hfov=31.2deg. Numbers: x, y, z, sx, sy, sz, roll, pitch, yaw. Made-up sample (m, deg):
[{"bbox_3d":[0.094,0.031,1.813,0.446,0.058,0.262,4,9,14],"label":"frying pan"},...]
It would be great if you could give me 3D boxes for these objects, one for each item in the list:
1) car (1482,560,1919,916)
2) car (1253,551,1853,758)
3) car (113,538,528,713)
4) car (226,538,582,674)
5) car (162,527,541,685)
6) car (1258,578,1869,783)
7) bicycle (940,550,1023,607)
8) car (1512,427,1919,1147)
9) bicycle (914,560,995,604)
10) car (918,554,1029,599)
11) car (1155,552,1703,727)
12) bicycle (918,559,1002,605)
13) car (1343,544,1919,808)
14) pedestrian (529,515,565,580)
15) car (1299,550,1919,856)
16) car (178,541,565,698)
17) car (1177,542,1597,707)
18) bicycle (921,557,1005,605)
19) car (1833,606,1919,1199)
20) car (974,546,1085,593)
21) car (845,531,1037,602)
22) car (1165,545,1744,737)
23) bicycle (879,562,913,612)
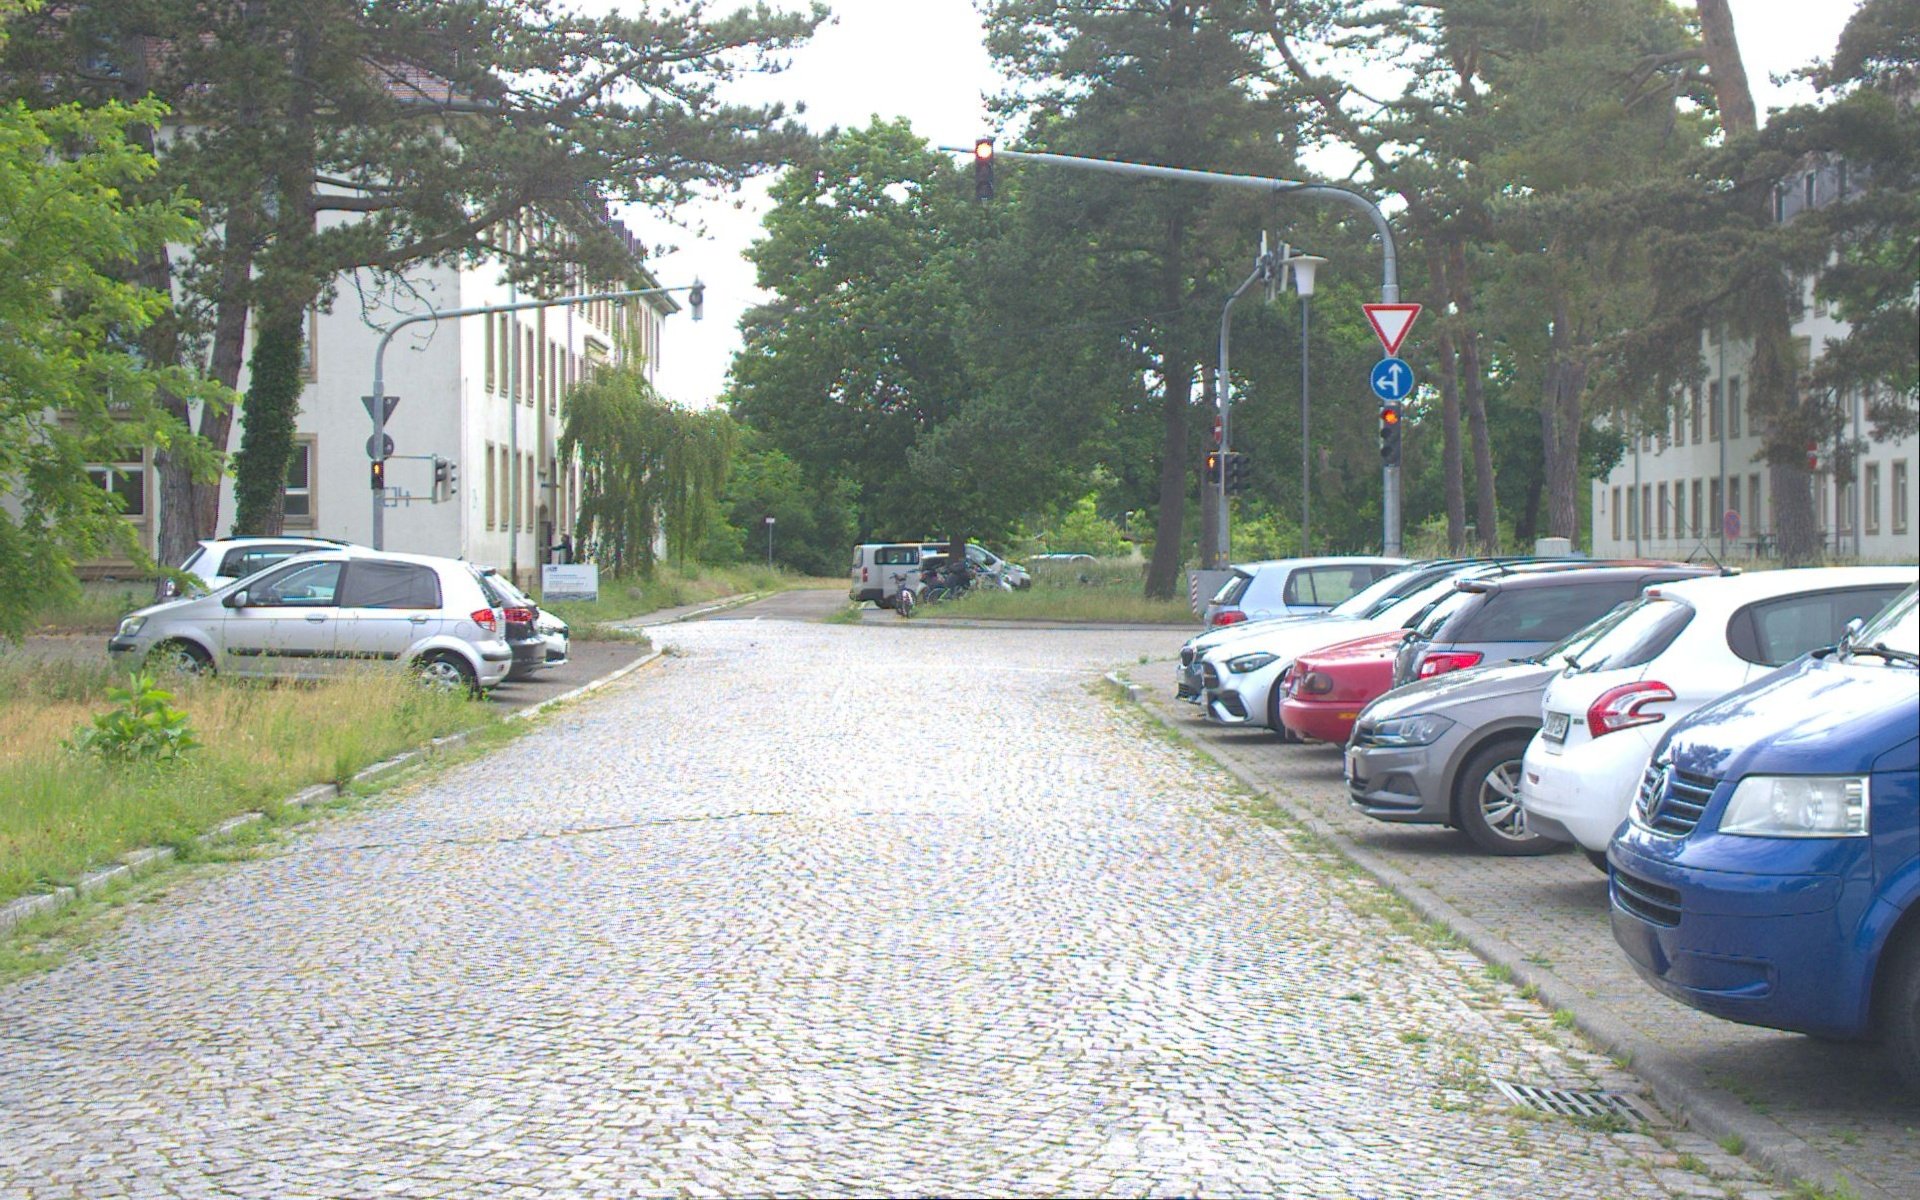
[{"bbox_3d":[4.496,0.561,15.766,3.862,1.467,1.758,-2,1,-2],"label":"car"},{"bbox_3d":[4.508,0.394,26.584,4.261,1.412,1.871,-2,1,-1],"label":"car"},{"bbox_3d":[-6.109,0.228,33.119,3.702,1.474,1.583,3,1,-3],"label":"car"},{"bbox_3d":[-6.597,0.059,41.035,3.947,1.416,1.650,3,1,-1],"label":"car"},{"bbox_3d":[-6.759,0.056,38.491,3.947,1.558,1.650,3,1,-3],"label":"car"},{"bbox_3d":[4.114,0.531,23.838,3.862,1.232,1.758,-2,1,-2],"label":"car"},{"bbox_3d":[0.527,-0.534,84.274,1.954,1.379,0.588,0,1,-7],"label":"bicycle"},{"bbox_3d":[4.278,0.432,10.411,4.807,1.939,2.003,-2,1,-2],"label":"car"},{"bbox_3d":[-0.131,-0.442,84.923,1.955,1.066,0.588,0,1,-30],"label":"bicycle"},{"bbox_3d":[0.367,-0.664,97.530,3.005,1.264,1.535,0,1,-6],"label":"car"},{"bbox_3d":[4.238,0.333,31.536,4.680,1.412,1.871,-2,1,-3],"label":"car"},{"bbox_3d":[-0.002,-0.444,83.440,1.954,1.113,0.588,0,1,-7],"label":"bicycle"},{"bbox_3d":[4.458,0.438,21.472,3.862,1.467,1.758,-2,1,-2],"label":"car"},{"bbox_3d":[-11.838,-1.502,98.463,0.774,1.831,0.741,-1,1,-32],"label":"pedestrian"},{"bbox_3d":[3.896,0.513,18.626,3.862,1.467,1.758,-2,1,-2],"label":"car"},{"bbox_3d":[-6.041,0.188,35.597,3.745,1.424,1.583,3,1,-3],"label":"car"},{"bbox_3d":[4.169,0.225,33.988,3.927,1.472,1.642,-2,1,1],"label":"car"},{"bbox_3d":[0.071,-0.458,82.807,1.954,1.129,0.588,0,1,-7],"label":"bicycle"},{"bbox_3d":[4.181,0.713,7.822,3.862,1.467,1.841,-2,1,-2],"label":"car"},{"bbox_3d":[2.106,-0.925,104.783,3.231,1.411,1.725,0,1,-3],"label":"car"},{"bbox_3d":[-0.570,-0.990,100.885,5.359,1.918,2.025,-1,1,-9],"label":"car"},{"bbox_3d":[4.103,0.308,28.849,4.421,1.412,1.871,-2,1,-9],"label":"car"},{"bbox_3d":[-1.491,-0.316,79.603,0.603,1.129,1.962,0,1,-6],"label":"bicycle"}]
